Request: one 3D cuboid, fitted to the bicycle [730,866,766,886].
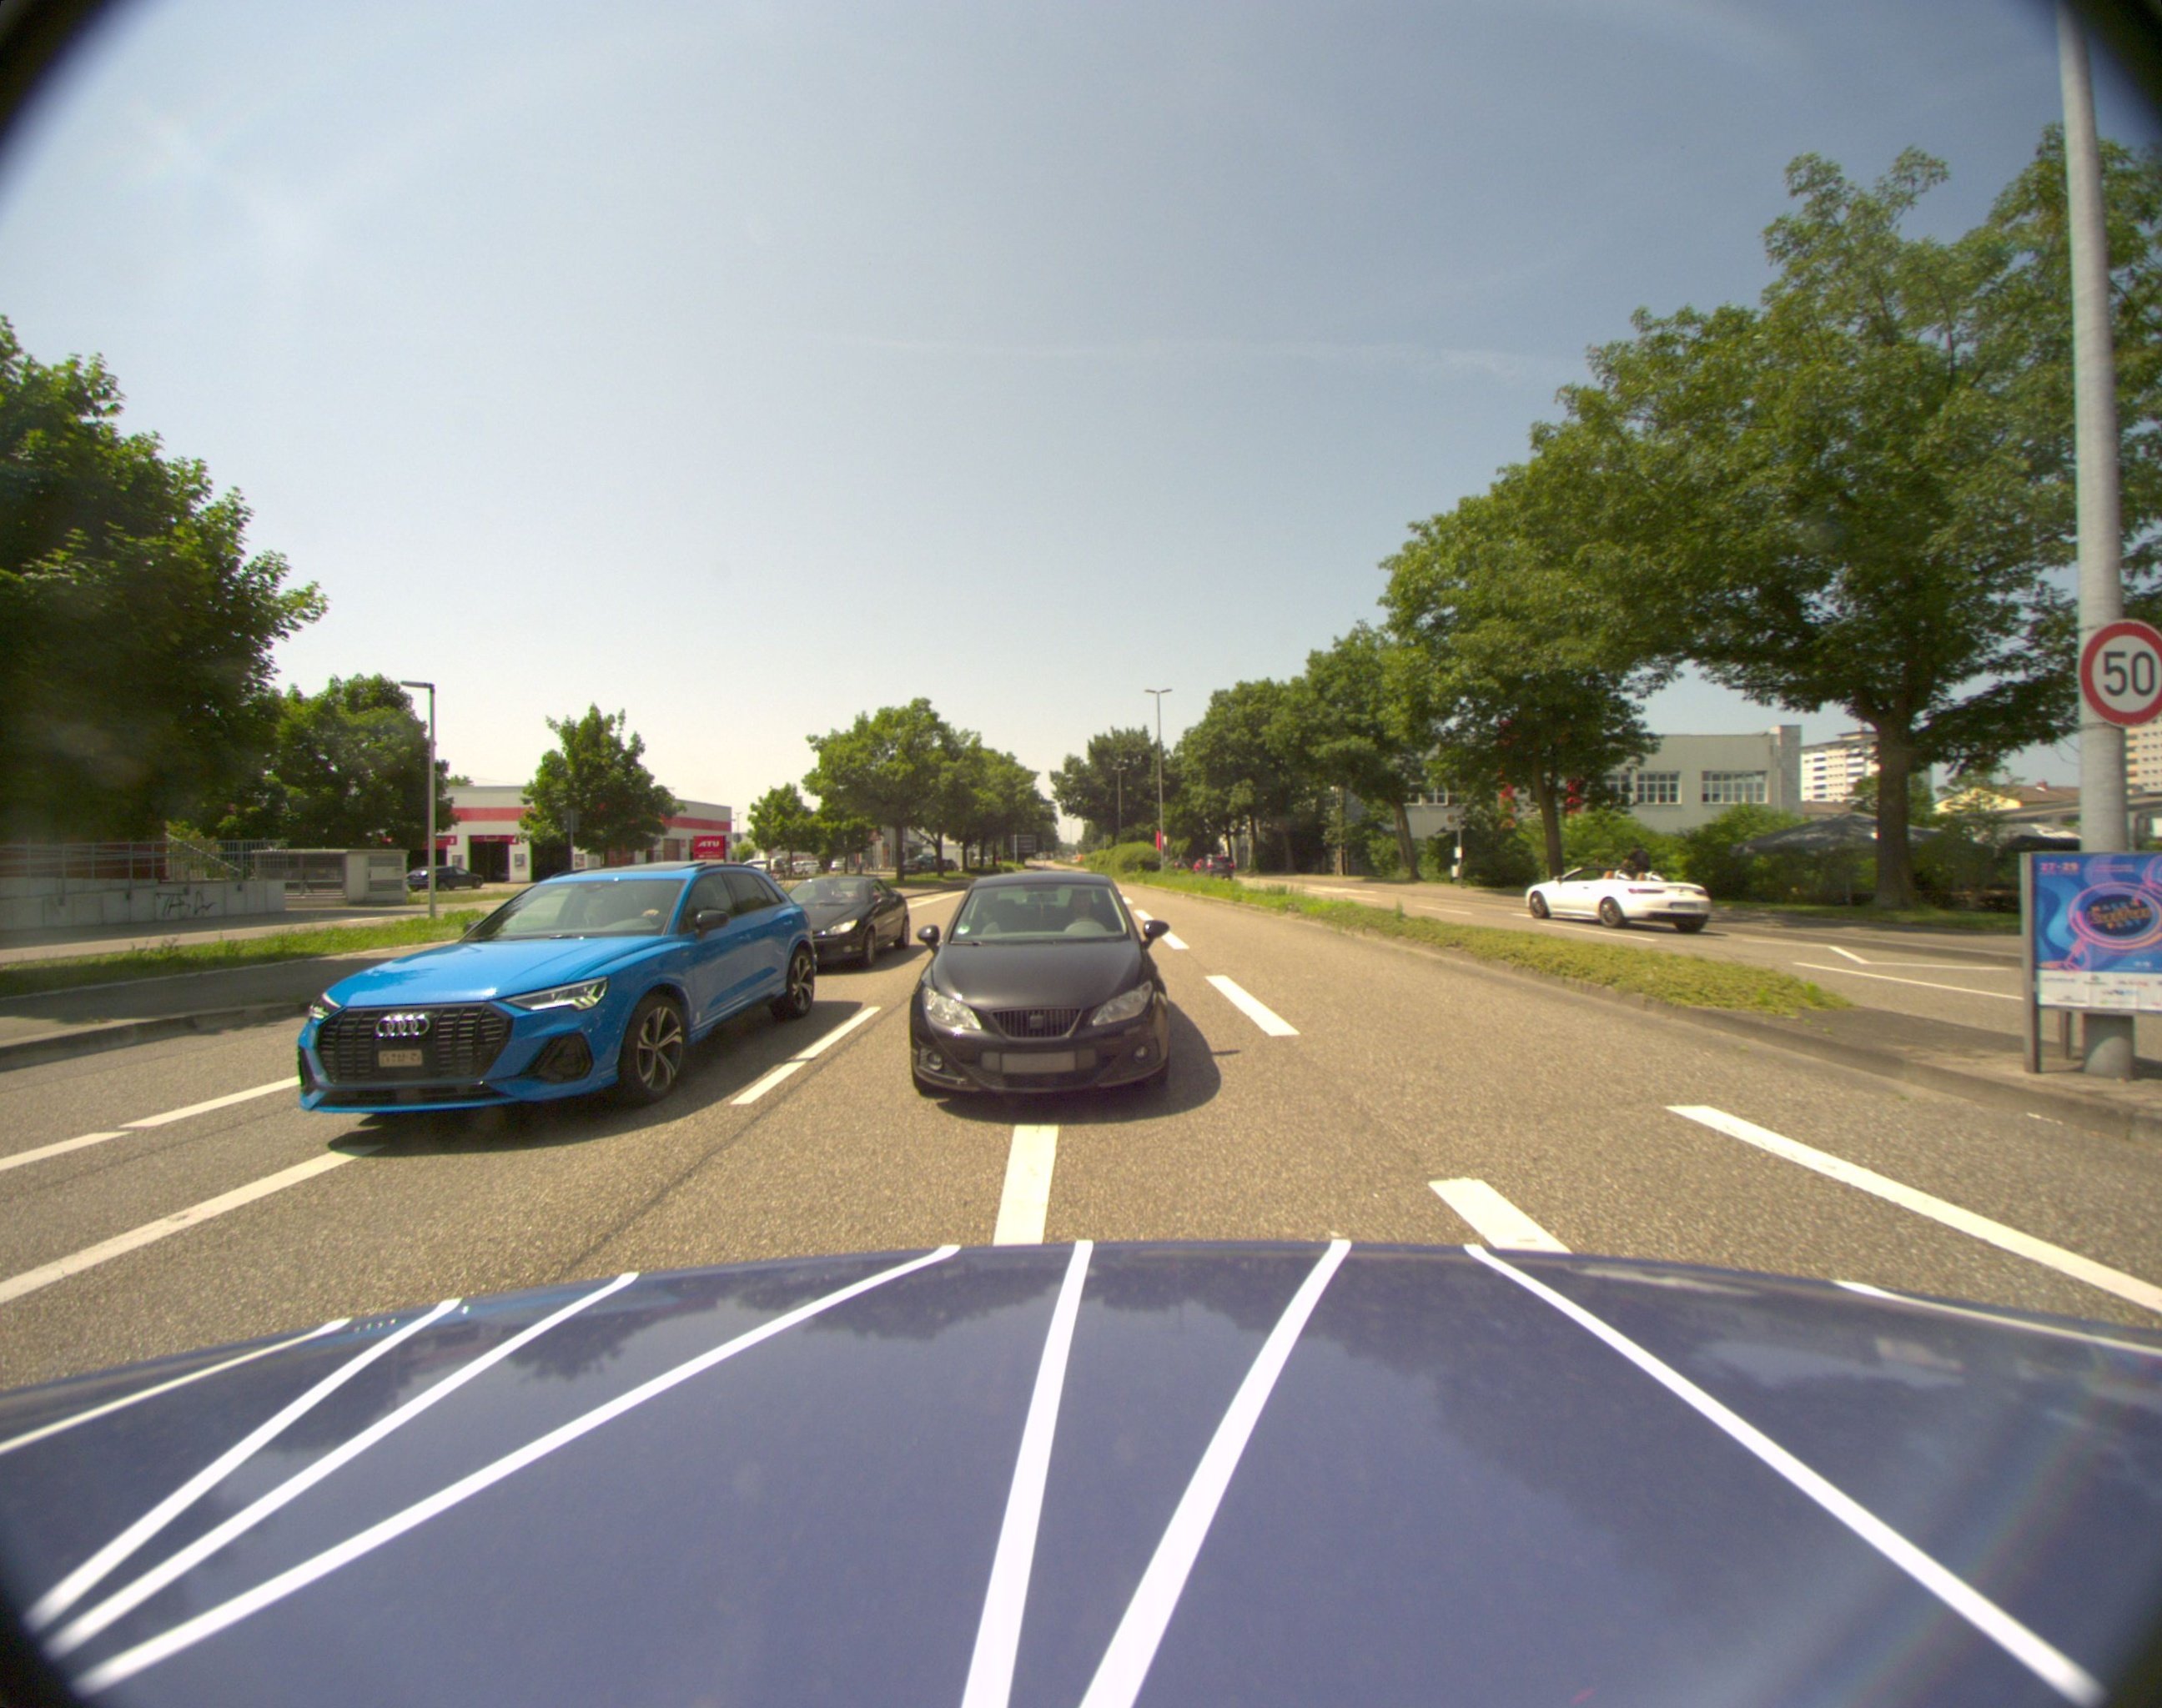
[{"bbox_3d":[-18.563,1.229,42.362,1.784,1.117,0.514,0,0,-6],"label":"bicycle"}]

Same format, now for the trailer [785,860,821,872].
[{"bbox_3d":[-24.560,1.076,67.149,2.642,1.046,1.578,0,0,-2],"label":"trailer"}]

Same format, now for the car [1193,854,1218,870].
[{"bbox_3d":[12.032,0.743,73.576,1.710,1.444,3.891,2,0,0],"label":"car"}]

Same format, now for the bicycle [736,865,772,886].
[{"bbox_3d":[-18.478,1.211,42.989,1.784,1.117,0.514,0,0,-6],"label":"bicycle"}]

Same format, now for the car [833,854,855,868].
[{"bbox_3d":[-27.433,0.837,87.985,1.759,1.586,3.997,0,0,-7],"label":"car"}]

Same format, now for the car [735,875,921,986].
[{"bbox_3d":[-3.867,1.100,12.336,1.642,1.336,4.000,-3,0,0],"label":"car"}]

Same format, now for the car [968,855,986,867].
[{"bbox_3d":[-13.320,0.911,97.852,1.719,1.458,4.000,0,0,1],"label":"car"}]

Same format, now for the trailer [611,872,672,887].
[{"bbox_3d":[-23.841,1.391,41.248,2.467,0.757,1.449,-1,0,1],"label":"trailer"}]

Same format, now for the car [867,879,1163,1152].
[{"bbox_3d":[-0.384,0.968,6.255,1.642,1.395,4.000,0,0,-1],"label":"car"}]

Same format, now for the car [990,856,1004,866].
[{"bbox_3d":[-13.028,1.121,118.448,1.719,1.458,4.000,0,0,1],"label":"car"}]

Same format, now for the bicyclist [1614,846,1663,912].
[{"bbox_3d":[15.306,0.680,20.873,0.651,1.759,0.927,-1,1,0],"label":"bicyclist"}]

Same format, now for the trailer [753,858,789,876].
[{"bbox_3d":[-27.290,1.131,66.947,2.642,1.518,1.415,0,0,-2],"label":"trailer"}]

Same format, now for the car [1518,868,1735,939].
[{"bbox_3d":[11.870,1.008,16.964,1.722,1.255,4.301,2,0,0],"label":"car"}]

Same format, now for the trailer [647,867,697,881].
[{"bbox_3d":[-24.094,1.173,44.788,2.137,0.757,1.394,-1,0,1],"label":"trailer"}]

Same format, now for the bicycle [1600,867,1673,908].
[{"bbox_3d":[15.331,0.907,21.033,0.656,1.045,1.884,-1,0,1],"label":"bicycle"}]

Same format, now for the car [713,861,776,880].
[{"bbox_3d":[-25.516,1.259,57.666,3.998,1.394,1.747,0,0,-2],"label":"car"}]

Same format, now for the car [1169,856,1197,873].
[{"bbox_3d":[8.448,0.864,63.012,1.683,1.331,3.999,2,0,-1],"label":"car"}]

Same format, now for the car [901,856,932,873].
[{"bbox_3d":[-13.524,0.846,62.713,1.642,1.363,4.000,0,0,1],"label":"car"}]

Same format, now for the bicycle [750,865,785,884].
[{"bbox_3d":[-18.301,1.196,44.375,1.784,1.117,0.514,0,0,-6],"label":"bicycle"}]

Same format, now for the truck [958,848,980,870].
[{"bbox_3d":[-13.554,0.565,92.016,1.904,2.552,4.000,0,0,2],"label":"truck"}]

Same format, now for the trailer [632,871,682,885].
[{"bbox_3d":[-24.060,1.373,43.128,2.137,0.757,1.267,-1,0,1],"label":"trailer"}]

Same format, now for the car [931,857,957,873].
[{"bbox_3d":[-13.344,1.041,74.114,1.719,1.511,4.000,0,0,1],"label":"car"}]

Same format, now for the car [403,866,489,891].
[{"bbox_3d":[-38.174,1.451,45.829,1.717,1.364,4.145,0,0,0],"label":"car"}]

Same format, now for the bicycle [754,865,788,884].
[{"bbox_3d":[-18.392,1.217,45.094,1.784,1.117,0.514,0,0,-6],"label":"bicycle"}]

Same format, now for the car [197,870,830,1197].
[{"bbox_3d":[-3.708,0.993,6.200,1.842,1.586,4.400,-1,0,0],"label":"car"}]

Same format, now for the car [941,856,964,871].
[{"bbox_3d":[-13.571,1.012,80.288,1.719,1.504,4.000,0,0,1],"label":"car"}]

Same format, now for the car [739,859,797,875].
[{"bbox_3d":[-25.612,1.070,62.264,3.998,1.201,1.747,0,0,-3],"label":"car"}]

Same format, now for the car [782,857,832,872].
[{"bbox_3d":[-25.073,0.940,69.613,3.998,1.293,1.689,0,0,-3],"label":"car"}]

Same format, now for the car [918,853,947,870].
[{"bbox_3d":[-13.439,0.693,68.940,1.719,1.458,4.000,0,0,1],"label":"car"}]

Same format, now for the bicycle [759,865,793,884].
[{"bbox_3d":[-18.427,1.209,45.924,1.784,1.117,0.514,0,0,-6],"label":"bicycle"}]

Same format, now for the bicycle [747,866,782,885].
[{"bbox_3d":[-18.207,1.233,43.734,1.784,1.117,0.514,0,0,-6],"label":"bicycle"}]

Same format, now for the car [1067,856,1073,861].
[{"bbox_3d":[-3.457,1.416,235.832,1.999,1.692,4.000,0,0,0],"label":"car"}]

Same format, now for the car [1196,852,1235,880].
[{"bbox_3d":[8.563,0.736,48.550,1.691,1.591,3.884,2,0,-1],"label":"car"}]

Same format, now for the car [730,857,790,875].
[{"bbox_3d":[-25.289,0.953,59.895,3.998,1.394,1.747,0,0,-3],"label":"car"}]
